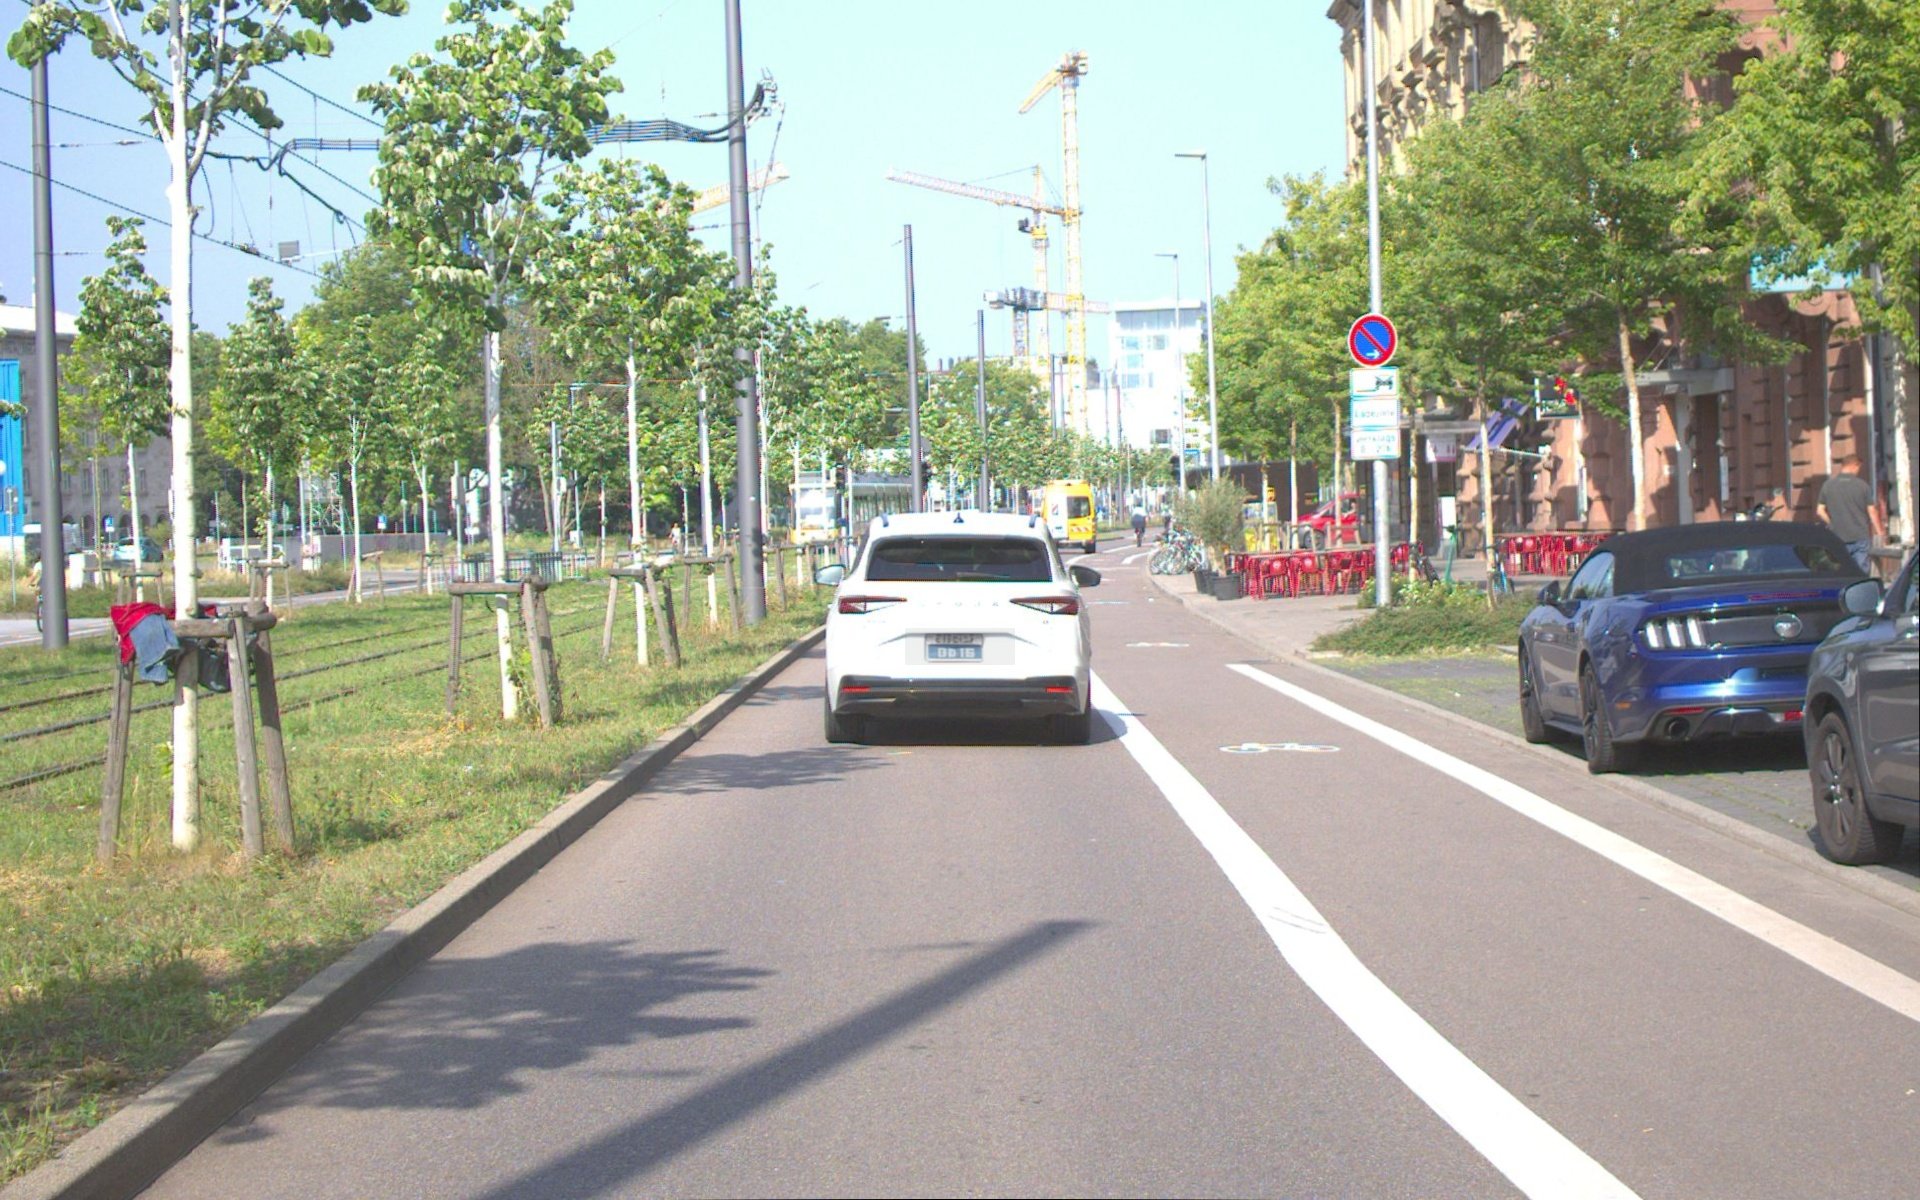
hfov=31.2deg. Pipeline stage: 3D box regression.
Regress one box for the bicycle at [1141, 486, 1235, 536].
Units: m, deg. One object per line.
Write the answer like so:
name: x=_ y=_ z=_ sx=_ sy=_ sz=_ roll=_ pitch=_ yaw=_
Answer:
bicycle: x=5.644 y=-2.201 z=85.242 sx=2.239 sy=1.100 sz=0.588 roll=-3 pitch=2 yaw=3

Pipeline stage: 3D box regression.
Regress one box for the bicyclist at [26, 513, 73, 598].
bicyclist: x=-18.966 y=-0.927 z=71.624 sx=0.647 sy=1.730 sz=0.919 roll=-3 pitch=1 yaw=1

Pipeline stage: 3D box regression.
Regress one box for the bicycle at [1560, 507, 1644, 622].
bicycle: x=6.422 y=-0.372 z=34.447 sx=0.492 sy=1.090 sz=1.827 roll=-1 pitch=2 yaw=1

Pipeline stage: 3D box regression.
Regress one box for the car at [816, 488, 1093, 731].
car: x=-0.021 y=-0.008 z=24.961 sx=1.817 sy=1.584 sz=4.407 roll=-1 pitch=2 yaw=0

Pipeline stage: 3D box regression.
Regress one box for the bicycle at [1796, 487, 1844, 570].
bicycle: x=10.817 y=-0.908 z=43.270 sx=0.397 sy=1.014 sz=1.255 roll=-1 pitch=2 yaw=6

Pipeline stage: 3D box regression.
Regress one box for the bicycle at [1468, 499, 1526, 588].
bicycle: x=6.924 y=-0.741 z=44.256 sx=0.505 sy=1.056 sz=1.712 roll=-3 pitch=2 yaw=15

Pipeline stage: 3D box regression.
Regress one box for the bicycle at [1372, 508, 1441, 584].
bicycle: x=6.787 y=-0.832 z=52.317 sx=0.595 sy=1.118 sz=1.927 roll=-2 pitch=2 yaw=-6

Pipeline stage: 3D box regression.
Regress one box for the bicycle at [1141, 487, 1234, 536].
bicycle: x=5.675 y=-2.214 z=85.797 sx=2.239 sy=1.100 sz=0.519 roll=-3 pitch=2 yaw=3

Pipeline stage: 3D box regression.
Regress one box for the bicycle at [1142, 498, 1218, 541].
bicycle: x=5.773 y=-2.119 z=90.101 sx=1.935 sy=1.009 sz=0.440 roll=-3 pitch=2 yaw=5

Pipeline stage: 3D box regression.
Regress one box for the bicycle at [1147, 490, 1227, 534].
bicycle: x=5.741 y=-2.236 z=87.111 sx=1.955 sy=0.983 sz=0.471 roll=-3 pitch=2 yaw=3

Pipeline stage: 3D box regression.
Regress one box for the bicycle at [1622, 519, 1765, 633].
bicycle: x=7.172 y=-0.244 z=33.557 sx=0.454 sy=1.078 sz=1.873 roll=-2 pitch=0 yaw=42

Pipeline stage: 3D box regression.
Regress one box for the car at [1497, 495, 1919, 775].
car: x=4.458 y=0.117 z=20.851 sx=1.736 sy=1.391 sz=4.715 roll=-3 pitch=2 yaw=2

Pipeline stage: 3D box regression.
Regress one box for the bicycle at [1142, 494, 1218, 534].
bicycle: x=5.834 y=-2.270 z=91.065 sx=1.935 sy=0.942 sz=0.440 roll=-3 pitch=2 yaw=5

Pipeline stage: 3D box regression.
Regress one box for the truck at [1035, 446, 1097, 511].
truck: x=3.995 y=-4.545 z=128.578 sx=2.213 sy=2.310 sz=5.890 roll=-1 pitch=2 yaw=3

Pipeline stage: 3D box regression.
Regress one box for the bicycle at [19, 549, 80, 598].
bicycle: x=-18.952 y=-0.558 z=71.581 sx=0.662 sy=0.958 sz=2.078 roll=-3 pitch=1 yaw=0

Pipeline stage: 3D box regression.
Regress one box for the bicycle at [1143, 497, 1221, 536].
bicycle: x=5.731 y=-2.158 z=88.760 sx=1.934 sy=0.871 sz=0.441 roll=-3 pitch=2 yaw=3

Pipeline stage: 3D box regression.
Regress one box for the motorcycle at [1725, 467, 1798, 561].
motorcycle: x=10.469 y=-1.132 z=44.958 sx=0.463 sy=1.171 sz=1.945 roll=-4 pitch=2 yaw=1

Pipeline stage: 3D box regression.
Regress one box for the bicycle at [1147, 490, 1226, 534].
bicycle: x=5.710 y=-2.224 z=86.632 sx=1.934 sy=0.983 sz=0.471 roll=-3 pitch=2 yaw=3

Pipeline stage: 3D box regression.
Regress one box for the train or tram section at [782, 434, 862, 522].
train or tram section: x=-5.925 y=-5.232 z=149.609 sx=2.898 sy=3.574 sz=12.478 roll=-2 pitch=1 yaw=0

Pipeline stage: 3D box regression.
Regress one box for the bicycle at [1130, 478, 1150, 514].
bicycle: x=7.807 y=-4.525 z=149.265 sx=0.781 sy=1.491 sz=2.801 roll=-1 pitch=2 yaw=2

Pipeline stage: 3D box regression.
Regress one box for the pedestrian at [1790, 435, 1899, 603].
pedestrian: x=9.269 y=-0.850 z=36.050 sx=0.823 sy=1.690 sz=0.793 roll=-4 pitch=2 yaw=-3

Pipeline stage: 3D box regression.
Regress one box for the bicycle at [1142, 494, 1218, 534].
bicycle: x=5.797 y=-2.259 z=90.587 sx=1.935 sy=0.942 sz=0.440 roll=-3 pitch=2 yaw=5

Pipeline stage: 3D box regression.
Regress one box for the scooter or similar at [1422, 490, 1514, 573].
scooter or similar: x=7.565 y=-1.025 z=51.214 sx=1.256 sy=1.153 sz=0.340 roll=-4 pitch=1 yaw=5

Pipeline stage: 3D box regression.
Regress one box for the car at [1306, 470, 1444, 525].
car: x=13.430 y=-3.321 z=111.359 sx=4.355 sy=1.678 sz=2.000 roll=-1 pitch=2 yaw=7

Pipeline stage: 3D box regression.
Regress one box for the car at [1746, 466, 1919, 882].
car: x=4.558 y=0.257 z=13.355 sx=1.769 sy=1.583 sz=4.249 roll=-3 pitch=2 yaw=-3
